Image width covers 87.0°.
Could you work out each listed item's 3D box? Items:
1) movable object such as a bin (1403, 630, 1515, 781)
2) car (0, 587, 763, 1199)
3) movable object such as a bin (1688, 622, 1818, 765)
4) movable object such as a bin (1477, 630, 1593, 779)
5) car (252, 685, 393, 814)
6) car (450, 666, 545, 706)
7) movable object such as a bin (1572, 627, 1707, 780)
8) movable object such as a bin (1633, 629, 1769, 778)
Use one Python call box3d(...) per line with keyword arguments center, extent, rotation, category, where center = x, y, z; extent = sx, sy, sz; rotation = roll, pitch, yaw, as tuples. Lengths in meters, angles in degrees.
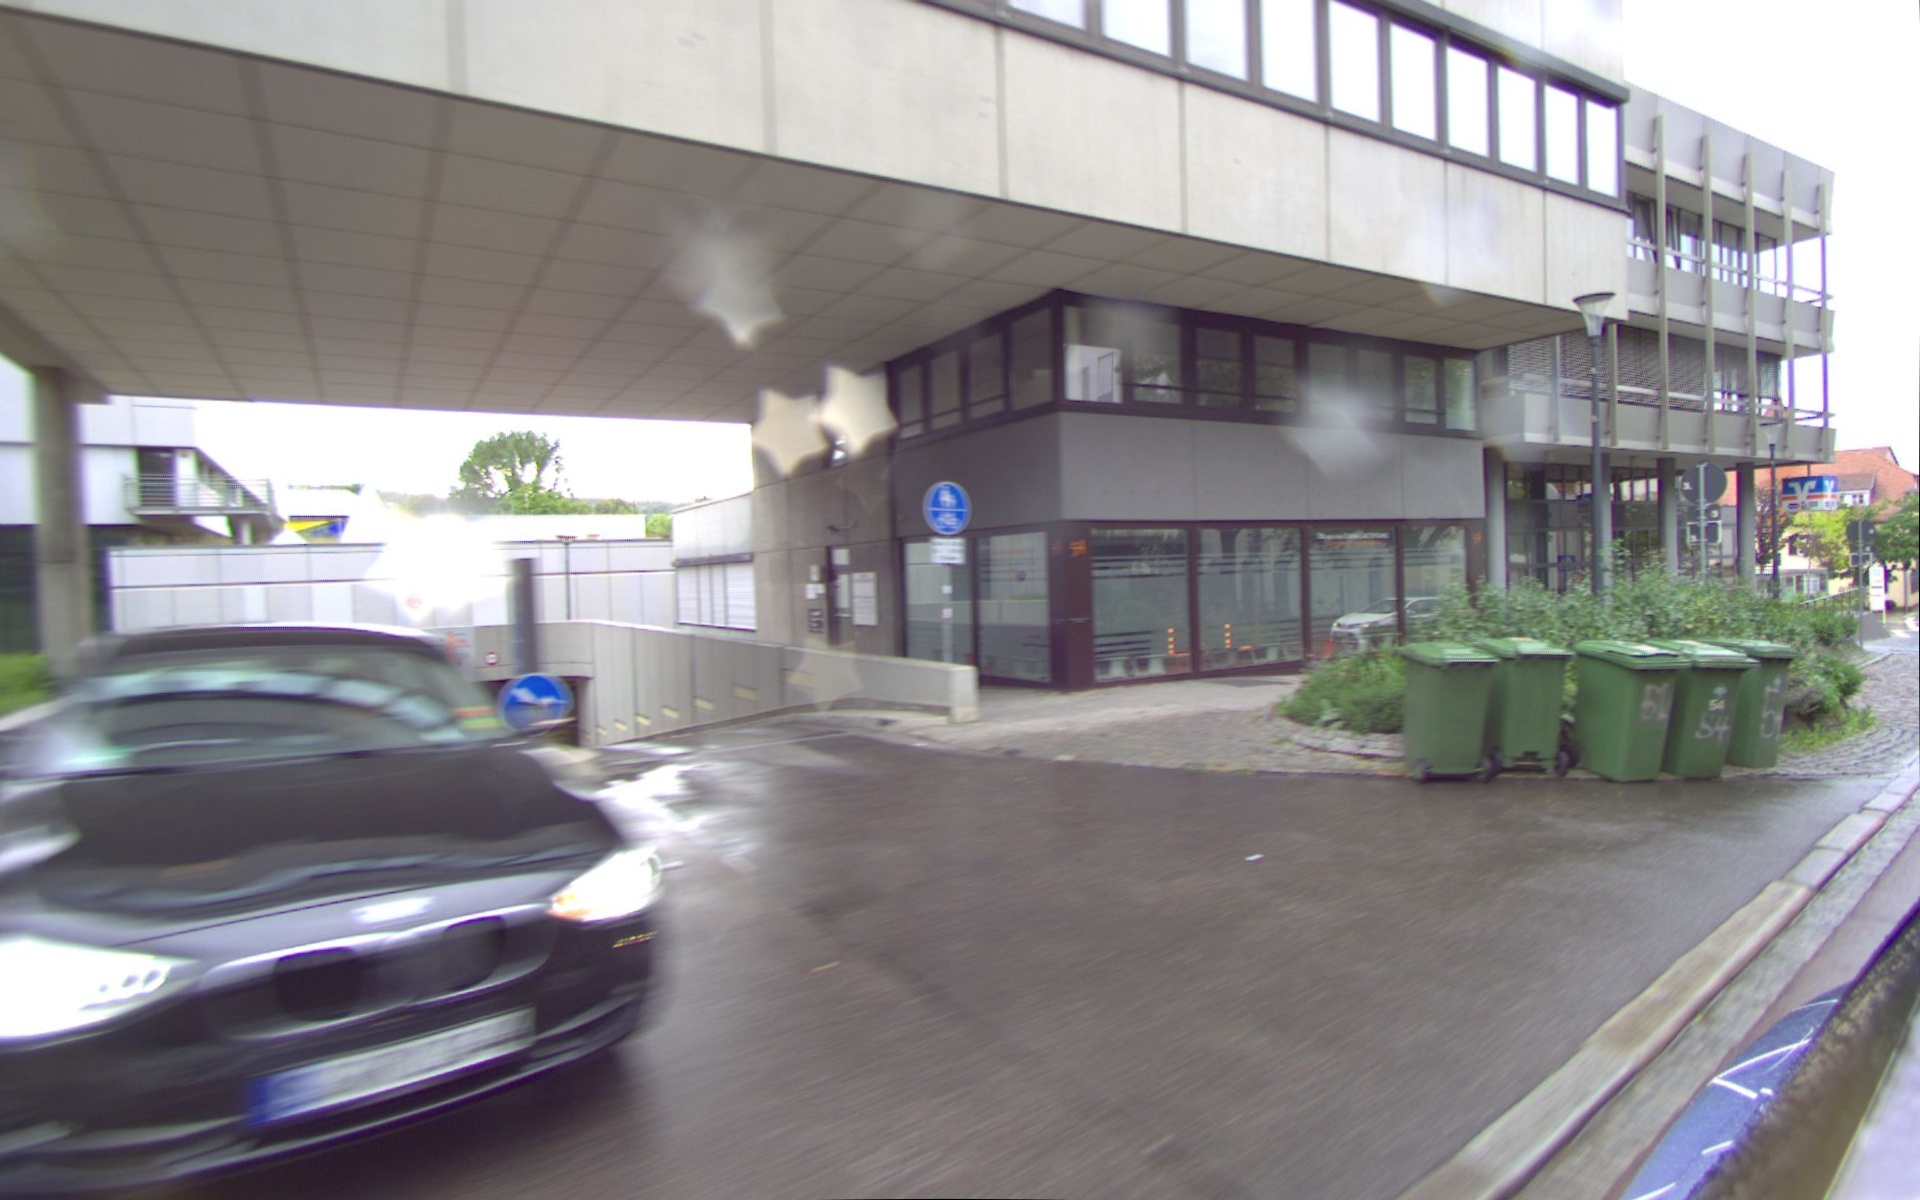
box3d(center=(3.974, 0.818, 8.100), extent=(0.561, 1.116, 0.705), rotation=(0, 1, 3), category="movable object such as a bin")
box3d(center=(-2.657, 0.732, 4.041), extent=(1.808, 1.435, 4.290), rotation=(0, -1, -41), category="car")
box3d(center=(6.885, 0.785, 8.800), extent=(0.559, 1.138, 0.707), rotation=(-1, 1, -24), category="movable object such as a bin")
box3d(center=(4.678, 0.829, 8.271), extent=(0.561, 1.116, 0.705), rotation=(0, 1, 3), category="movable object such as a bin")
box3d(center=(-10.238, 2.298, 16.479), extent=(1.709, 1.460, 4.003), rotation=(-2, 0, -30), category="car")
box3d(center=(-21.772, 4.025, 47.697), extent=(3.920, 1.421, 1.622), rotation=(-3, 2, -29), category="car")
box3d(center=(5.475, 0.805, 8.183), extent=(0.559, 1.124, 0.707), rotation=(-1, 1, -15), category="movable object such as a bin")
box3d(center=(6.094, 0.825, 8.353), extent=(0.559, 1.121, 0.707), rotation=(-1, 1, -13), category="movable object such as a bin")
